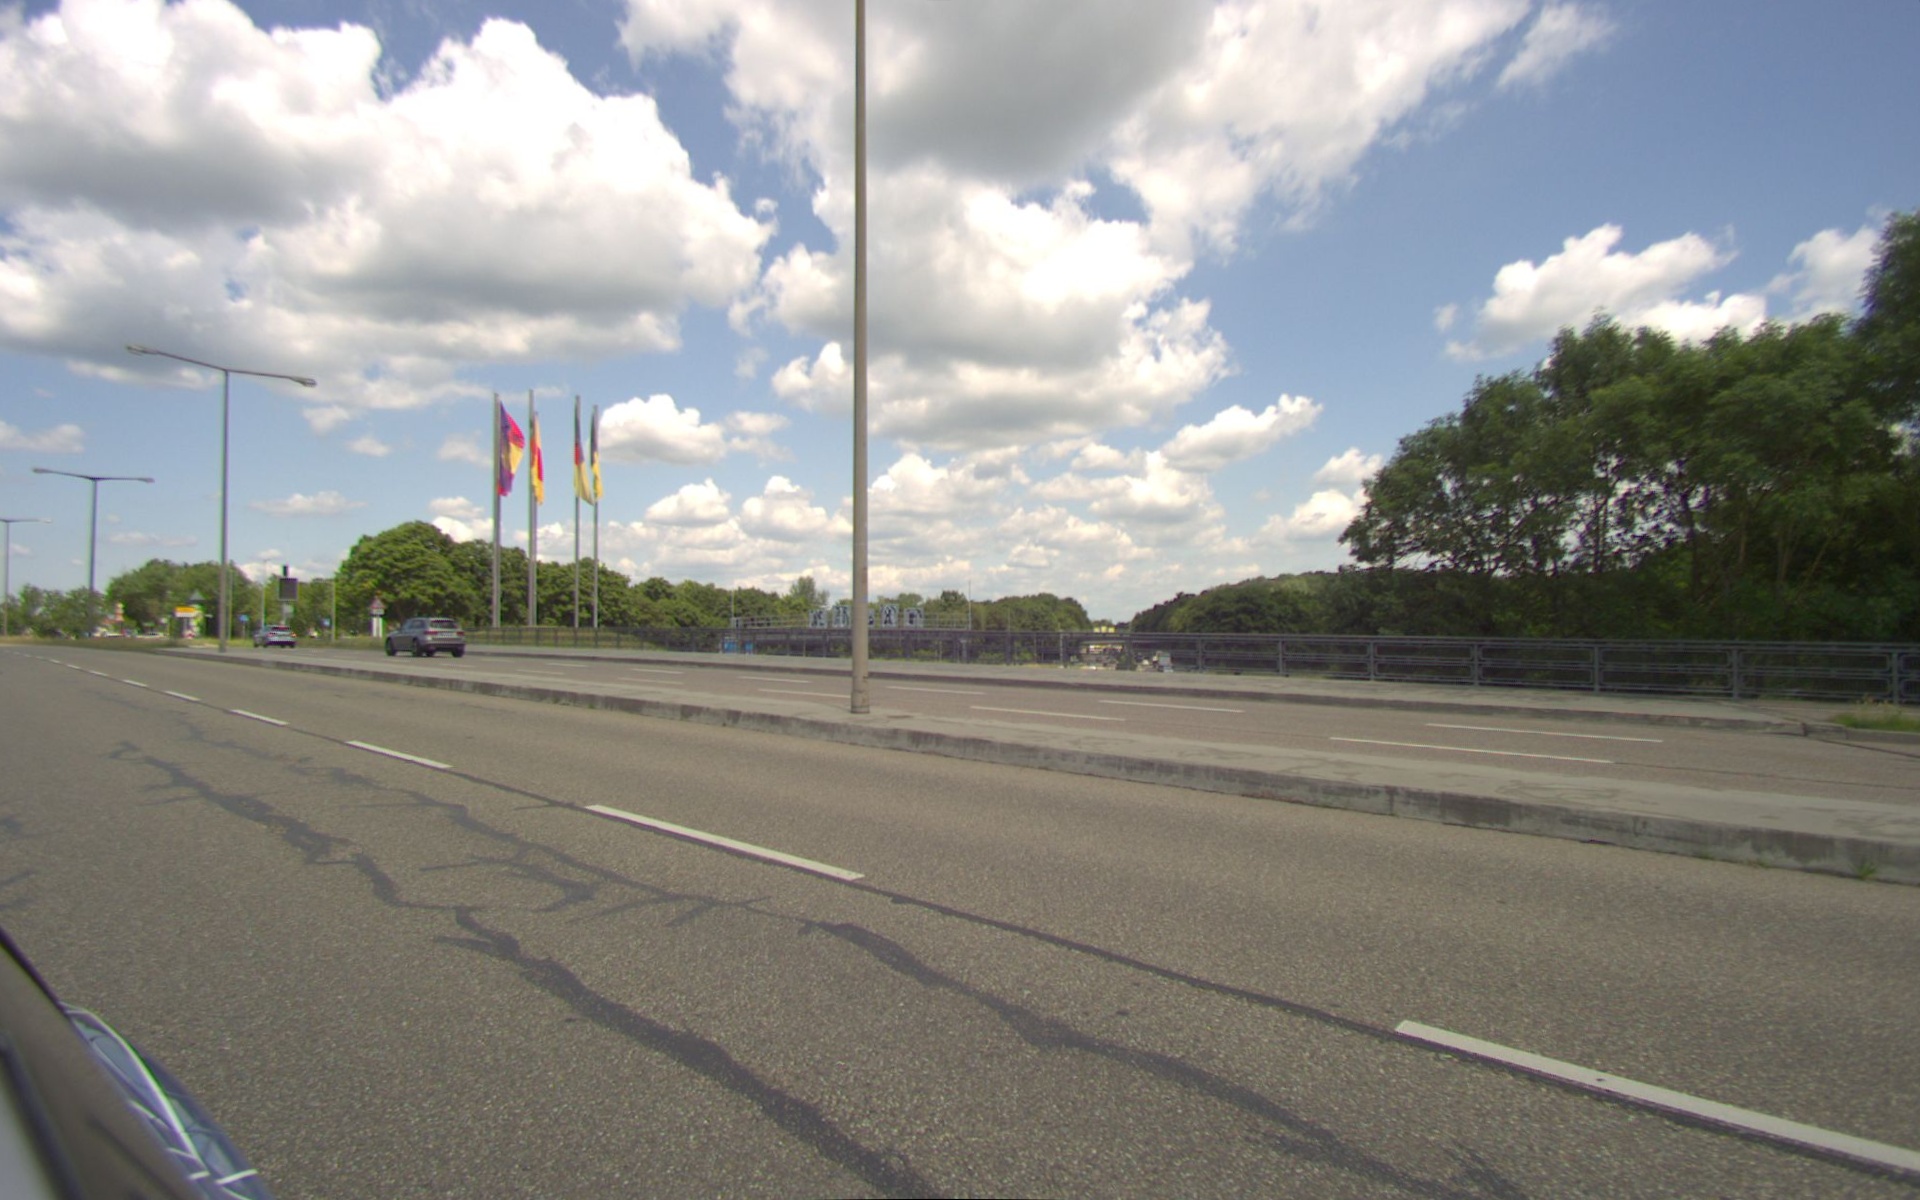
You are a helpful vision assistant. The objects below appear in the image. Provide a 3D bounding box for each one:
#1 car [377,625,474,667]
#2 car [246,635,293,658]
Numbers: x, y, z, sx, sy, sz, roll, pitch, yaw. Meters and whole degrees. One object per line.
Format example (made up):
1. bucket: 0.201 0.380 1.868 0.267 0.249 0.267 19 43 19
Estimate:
1. car: -22.894 1.992 43.271 4.547 1.639 2.066 -3 -6 41
2. car: -45.143 3.060 66.109 4.552 1.424 1.644 -3 -6 45
